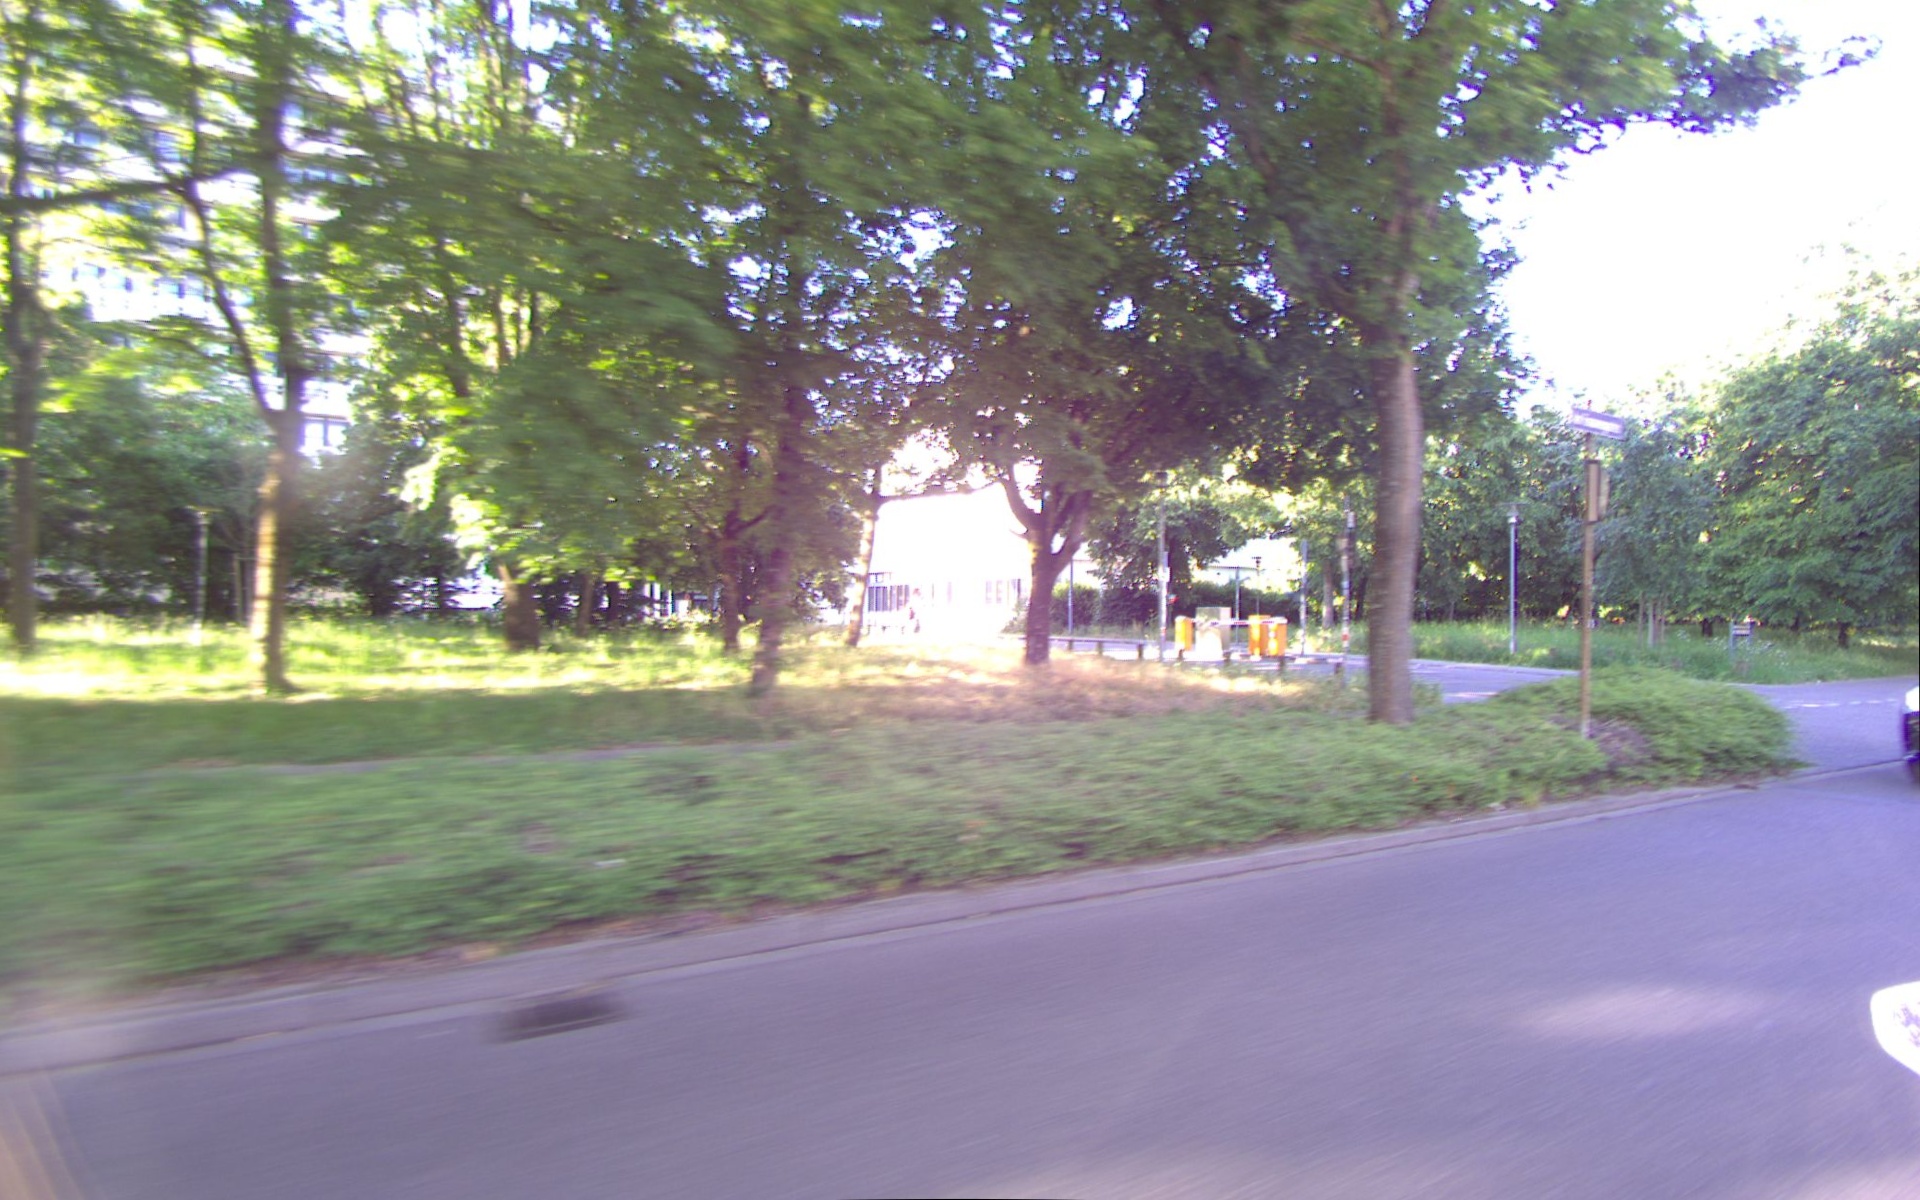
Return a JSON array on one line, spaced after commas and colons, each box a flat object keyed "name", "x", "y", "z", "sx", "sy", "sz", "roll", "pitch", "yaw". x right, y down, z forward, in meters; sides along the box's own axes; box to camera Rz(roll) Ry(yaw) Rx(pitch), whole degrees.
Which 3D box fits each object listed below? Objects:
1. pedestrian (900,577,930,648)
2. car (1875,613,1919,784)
[{"name": "pedestrian", "x": -1.301, "y": 0.355, "z": 29.005, "sx": 0.583, "sy": 2.040, "sz": 0.753, "roll": 1, "pitch": 0, "yaw": -28}, {"name": "car", "x": 11.109, "y": 0.923, "z": 10.042, "sx": 4.288, "sy": 1.599, "sz": 1.834, "roll": 1, "pitch": -2, "yaw": -33}]
